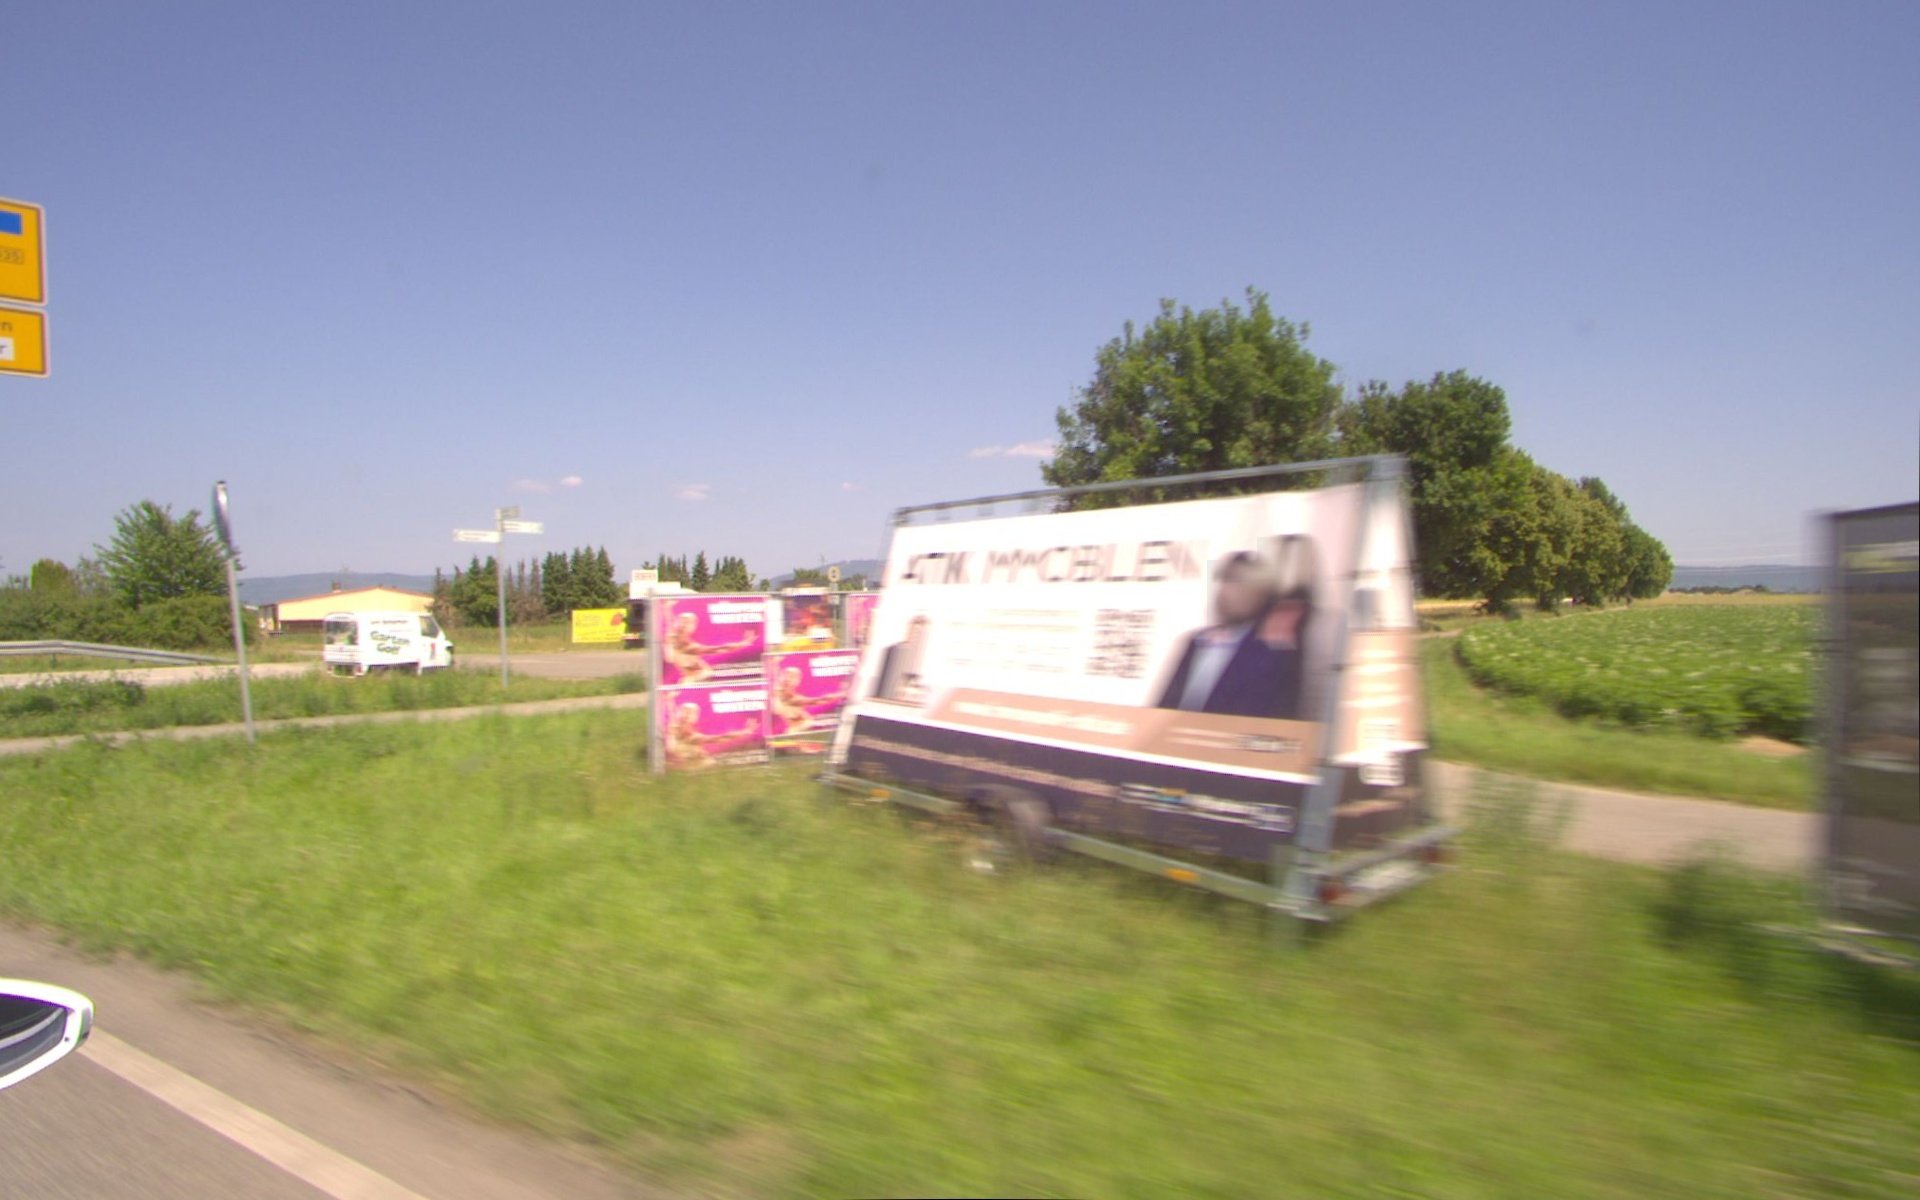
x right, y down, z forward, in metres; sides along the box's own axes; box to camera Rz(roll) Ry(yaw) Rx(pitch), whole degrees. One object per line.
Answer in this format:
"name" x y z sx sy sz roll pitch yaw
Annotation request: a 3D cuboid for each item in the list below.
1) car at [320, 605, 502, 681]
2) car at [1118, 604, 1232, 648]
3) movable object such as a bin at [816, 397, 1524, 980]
"car" -11.880 0.895 21.867 1.378 1.519 3.336 -1 -1 25
"car" 8.078 0.958 37.766 3.833 1.547 1.750 -1 0 37
"movable object such as a bin" 0.889 0.442 6.300 1.510 2.393 4.388 1 -2 -40
